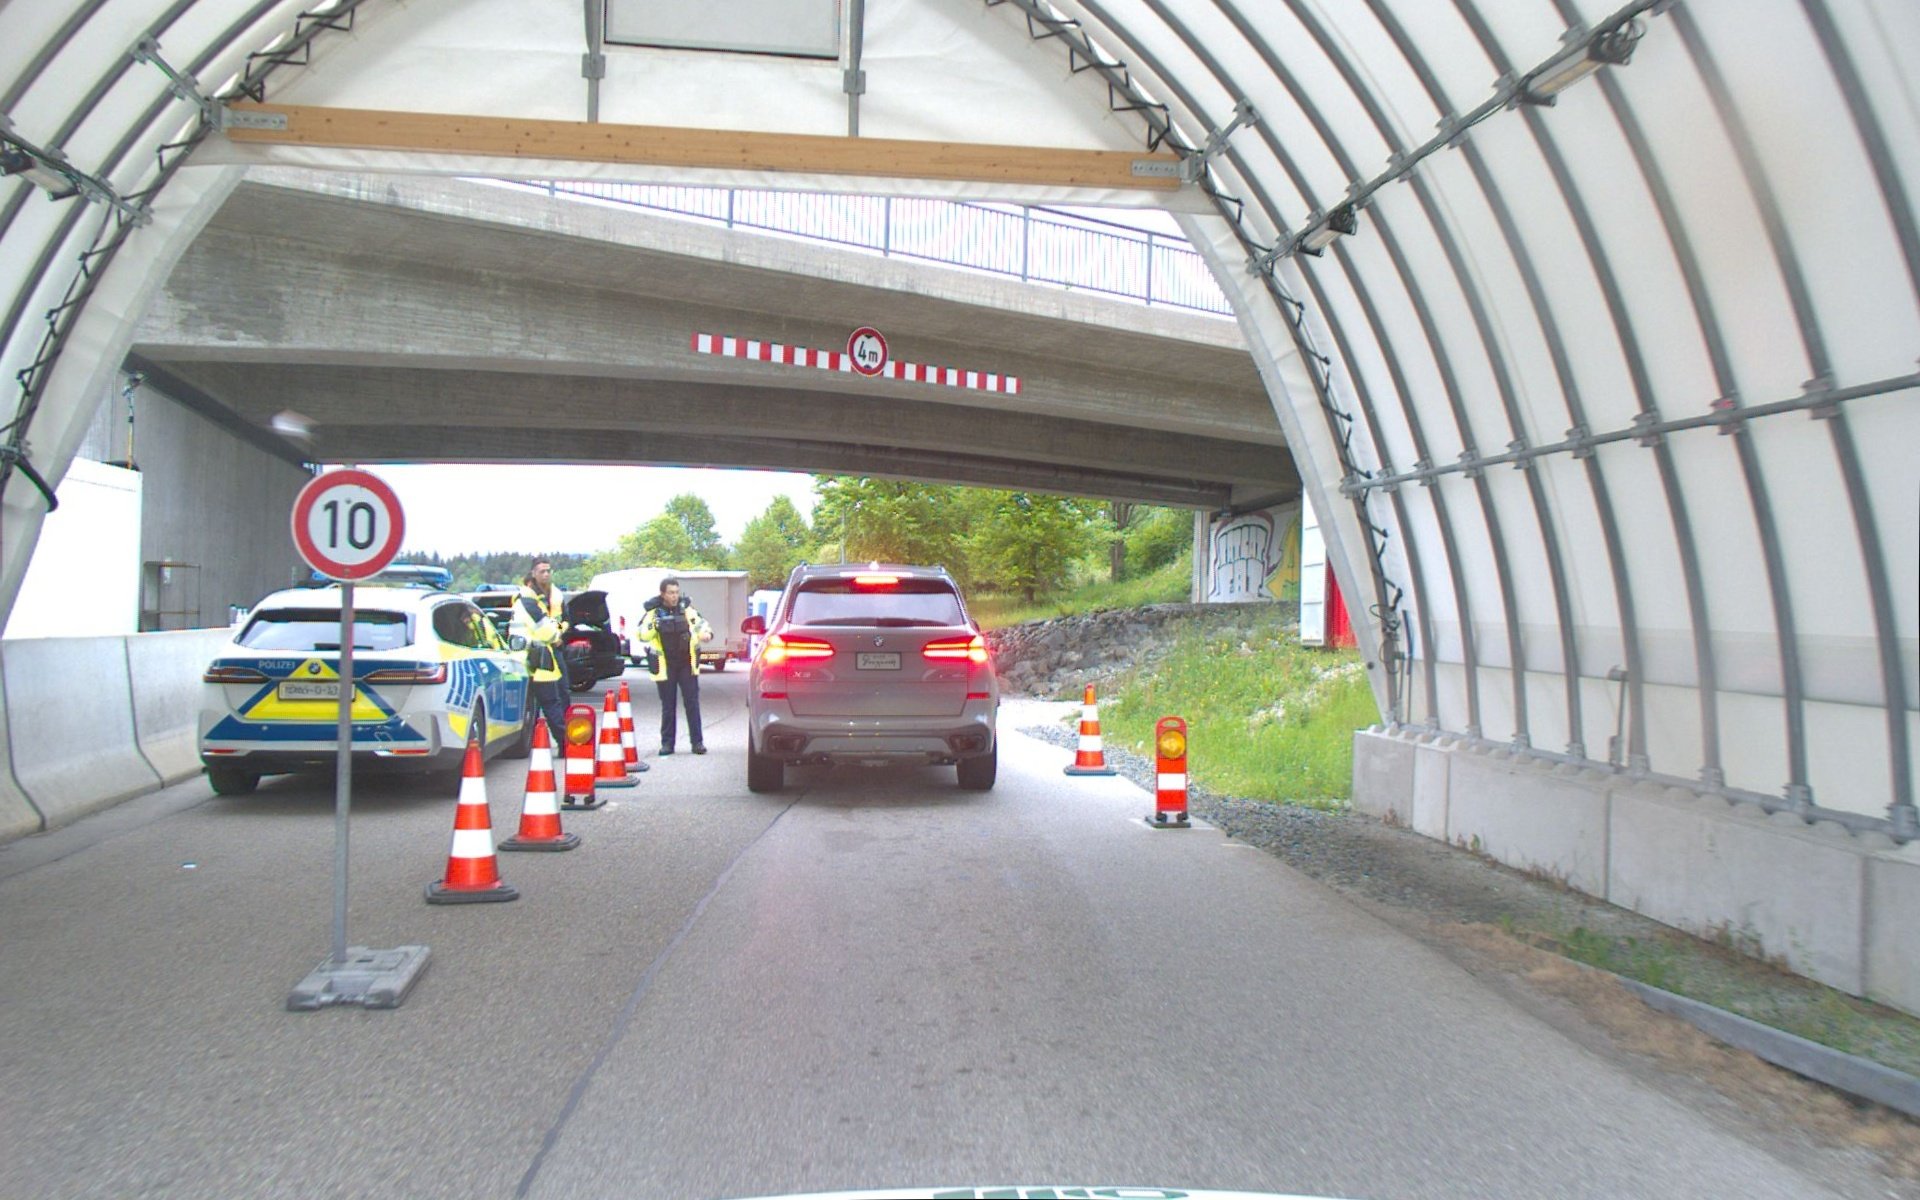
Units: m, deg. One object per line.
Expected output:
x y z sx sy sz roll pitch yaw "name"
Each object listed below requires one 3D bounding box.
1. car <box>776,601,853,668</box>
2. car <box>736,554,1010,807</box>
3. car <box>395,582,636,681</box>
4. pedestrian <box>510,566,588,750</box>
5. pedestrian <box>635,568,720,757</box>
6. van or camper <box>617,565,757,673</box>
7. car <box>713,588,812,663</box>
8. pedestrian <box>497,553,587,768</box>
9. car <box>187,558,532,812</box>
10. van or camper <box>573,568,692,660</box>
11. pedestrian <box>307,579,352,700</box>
-4.072 0.910 45.797 1.956 1.752 3.890 -1 0 -8 "car"
-0.758 0.576 13.937 1.954 1.796 3.997 -1 0 -4 "car"
-9.599 0.667 35.824 4.703 2.049 1.842 0 0 12 "car"
-4.084 0.566 16.470 0.596 1.784 0.666 -1 0 -1 "pedestrian"
-2.702 0.577 15.823 0.765 1.752 0.755 -1 0 -10 "pedestrian"
-7.276 0.476 43.425 2.199 2.597 6.565 -1 0 -22 "van or camper"
-6.560 0.816 54.587 1.971 2.387 3.963 0 0 -28 "car"
-3.898 0.549 15.482 0.735 1.952 0.761 -1 0 -10 "pedestrian"
-4.553 0.566 13.146 1.843 1.675 3.991 -1 0 -9 "car"
-9.792 0.388 49.120 2.079 2.563 5.502 0 0 -27 "van or camper"
-10.861 0.667 28.511 0.613 2.049 0.654 0 0 -11 "pedestrian"
